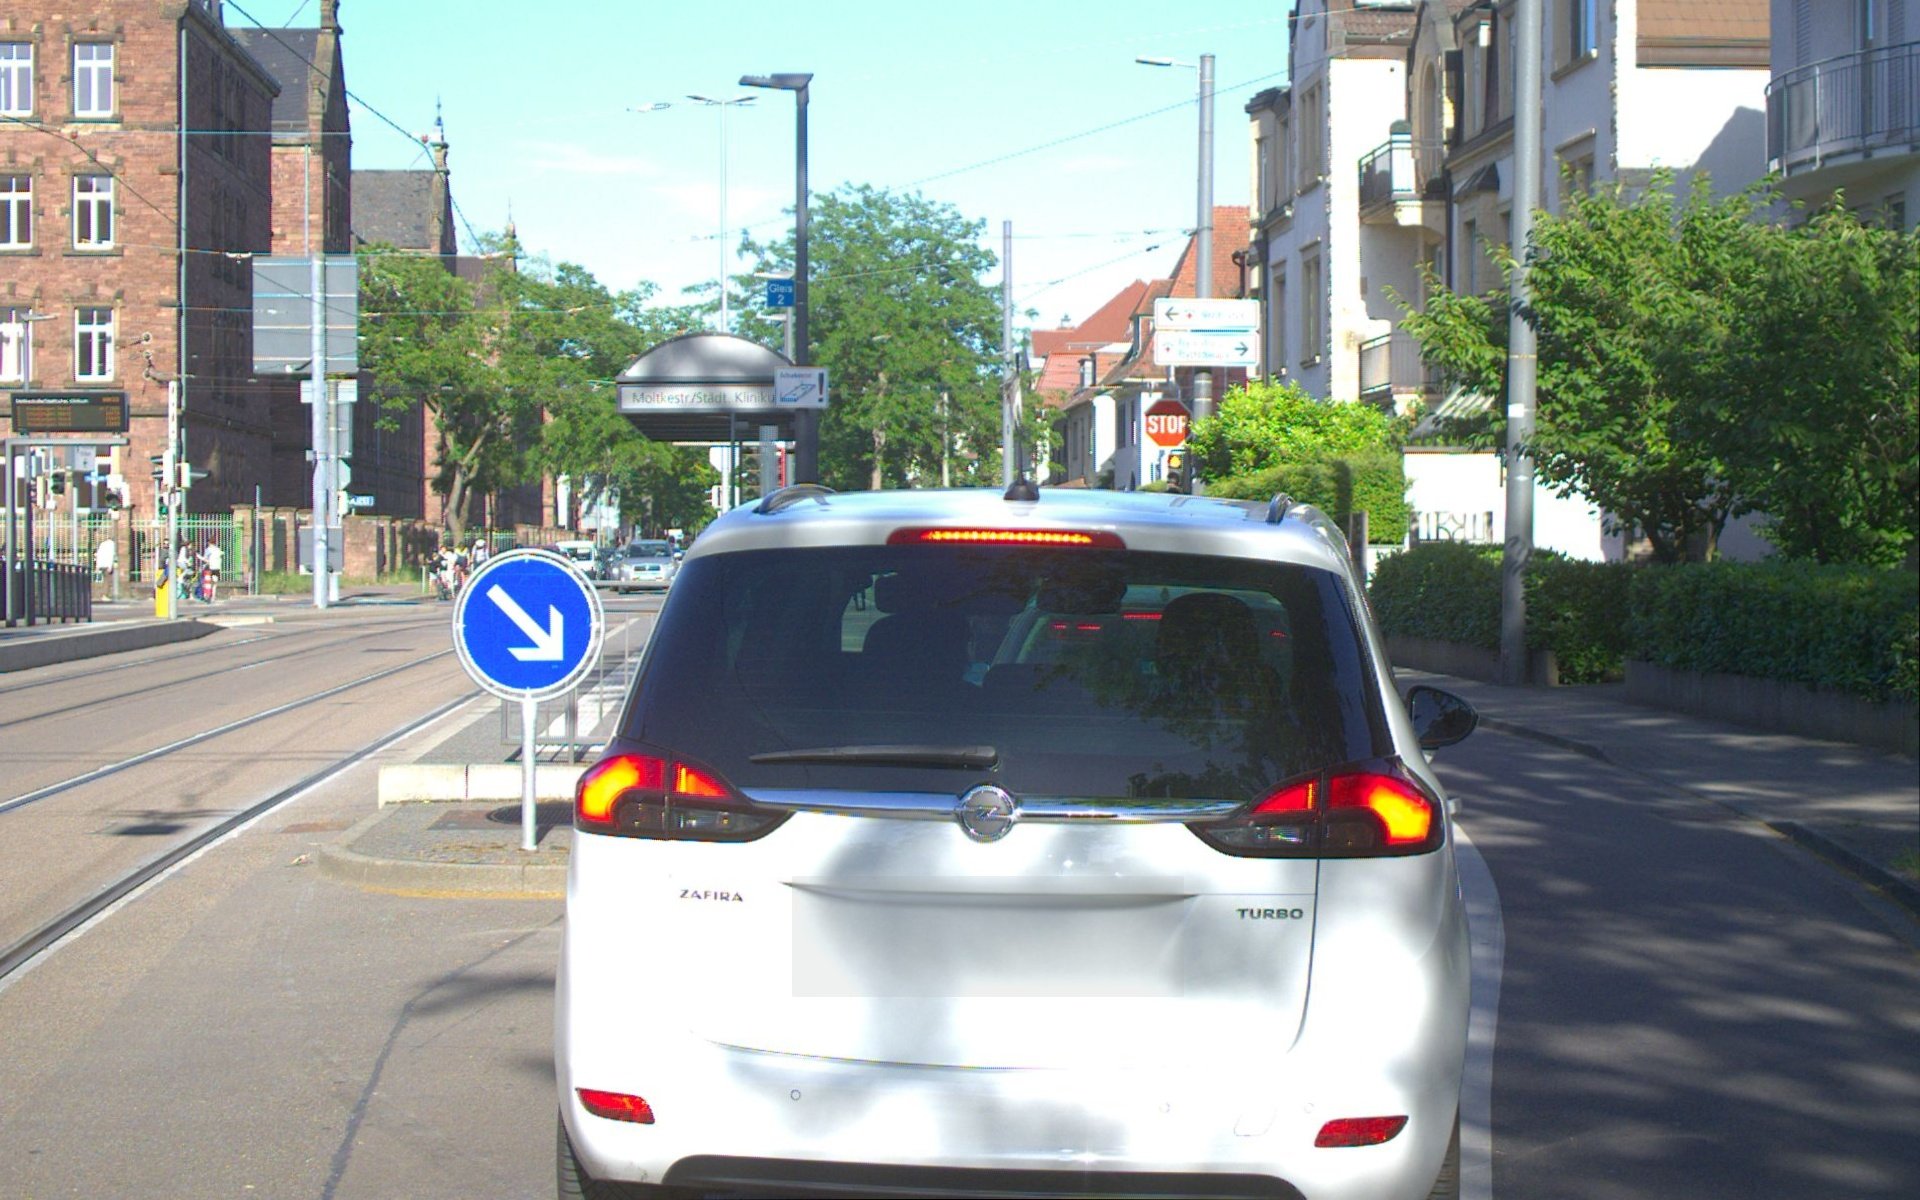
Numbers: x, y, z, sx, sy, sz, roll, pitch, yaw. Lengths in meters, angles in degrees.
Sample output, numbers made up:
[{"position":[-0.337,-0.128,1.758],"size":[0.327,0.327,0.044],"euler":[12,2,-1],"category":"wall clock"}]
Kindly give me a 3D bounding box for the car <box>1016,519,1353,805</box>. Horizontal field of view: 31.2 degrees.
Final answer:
[{"position":[1.503,0.312,21.614],"size":[1.907,1.619,3.999],"euler":[0,1,7],"category":"car"}]

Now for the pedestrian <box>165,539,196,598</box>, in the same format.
[{"position":[-21.619,-0.877,95.318],"size":[0.654,1.606,0.711],"euler":[1,0,2],"category":"pedestrian"}]

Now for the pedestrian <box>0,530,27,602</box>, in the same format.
[{"position":[-23.686,-0.845,85.720],"size":[0.766,1.768,0.721],"euler":[1,0,-17],"category":"pedestrian"}]

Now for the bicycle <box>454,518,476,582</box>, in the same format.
[{"position":[-15.697,-1.592,109.012],"size":[0.487,2.007,1.405],"euler":[0,1,0],"category":"bicycle"}]

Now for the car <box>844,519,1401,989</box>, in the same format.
[{"position":[0.782,0.486,13.775],"size":[1.907,1.592,3.999],"euler":[0,1,7],"category":"car"}]

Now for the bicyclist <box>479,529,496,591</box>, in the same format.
[{"position":[-15.335,-1.288,111.564],"size":[0.488,2.007,0.502],"euler":[1,0,-1],"category":"bicyclist"}]

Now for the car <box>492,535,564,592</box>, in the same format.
[{"position":[-13.422,-1.135,107.000],"size":[1.746,1.710,4.000],"euler":[1,1,-1],"category":"car"}]

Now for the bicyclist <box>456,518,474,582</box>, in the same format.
[{"position":[-15.696,-1.592,109.009],"size":[0.498,2.007,0.572],"euler":[0,1,-1],"category":"bicyclist"}]

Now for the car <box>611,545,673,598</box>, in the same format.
[{"position":[-10.647,-0.965,115.219],"size":[1.746,1.710,4.000],"euler":[1,1,-1],"category":"car"}]

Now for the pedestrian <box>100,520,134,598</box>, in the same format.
[{"position":[-22.002,-1.067,89.736],"size":[0.689,2.007,0.617],"euler":[1,0,5],"category":"pedestrian"}]

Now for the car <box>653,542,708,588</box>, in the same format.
[{"position":[-10.484,-1.314,129.070],"size":[1.746,1.710,4.000],"euler":[1,1,-1],"category":"car"}]

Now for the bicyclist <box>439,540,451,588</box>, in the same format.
[{"position":[-15.426,-1.079,102.958],"size":[0.313,1.439,0.384],"euler":[0,1,-1],"category":"bicyclist"}]

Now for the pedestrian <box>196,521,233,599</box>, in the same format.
[{"position":[-19.364,-1.043,89.336],"size":[0.794,2.007,0.721],"euler":[1,0,-23],"category":"pedestrian"}]

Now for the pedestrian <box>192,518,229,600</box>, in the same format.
[{"position":[-18.525,-1.014,84.976],"size":[0.794,2.007,0.721],"euler":[1,0,-17],"category":"pedestrian"}]

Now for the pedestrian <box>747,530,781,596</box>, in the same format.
[{"position":[-5.702,-1.078,99.986],"size":[0.741,1.894,0.811],"euler":[1,0,-24],"category":"pedestrian"}]

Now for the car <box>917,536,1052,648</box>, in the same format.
[{"position":[0.340,-0.159,53.089],"size":[1.907,1.656,4.001],"euler":[0,1,-2],"category":"car"}]

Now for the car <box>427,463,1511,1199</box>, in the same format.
[{"position":[0.230,0.553,8.008],"size":[1.907,1.656,3.999],"euler":[0,1,7],"category":"car"}]

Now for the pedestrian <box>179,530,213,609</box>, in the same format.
[{"position":[-19.560,-0.773,88.048],"size":[0.794,2.007,1.047],"euler":[1,0,-15],"category":"pedestrian"}]

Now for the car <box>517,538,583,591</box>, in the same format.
[{"position":[-13.549,-1.172,113.713],"size":[1.746,1.710,4.000],"euler":[1,1,-1],"category":"car"}]

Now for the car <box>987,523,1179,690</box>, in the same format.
[{"position":[1.244,0.028,36.112],"size":[1.907,1.656,4.000],"euler":[0,1,1],"category":"car"}]

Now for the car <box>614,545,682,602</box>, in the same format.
[{"position":[-9.623,-0.823,106.216],"size":[1.746,1.710,4.000],"euler":[1,1,-1],"category":"car"}]

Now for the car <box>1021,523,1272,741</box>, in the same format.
[{"position":[1.567,0.210,28.275],"size":[1.907,1.656,4.000],"euler":[0,1,4],"category":"car"}]
